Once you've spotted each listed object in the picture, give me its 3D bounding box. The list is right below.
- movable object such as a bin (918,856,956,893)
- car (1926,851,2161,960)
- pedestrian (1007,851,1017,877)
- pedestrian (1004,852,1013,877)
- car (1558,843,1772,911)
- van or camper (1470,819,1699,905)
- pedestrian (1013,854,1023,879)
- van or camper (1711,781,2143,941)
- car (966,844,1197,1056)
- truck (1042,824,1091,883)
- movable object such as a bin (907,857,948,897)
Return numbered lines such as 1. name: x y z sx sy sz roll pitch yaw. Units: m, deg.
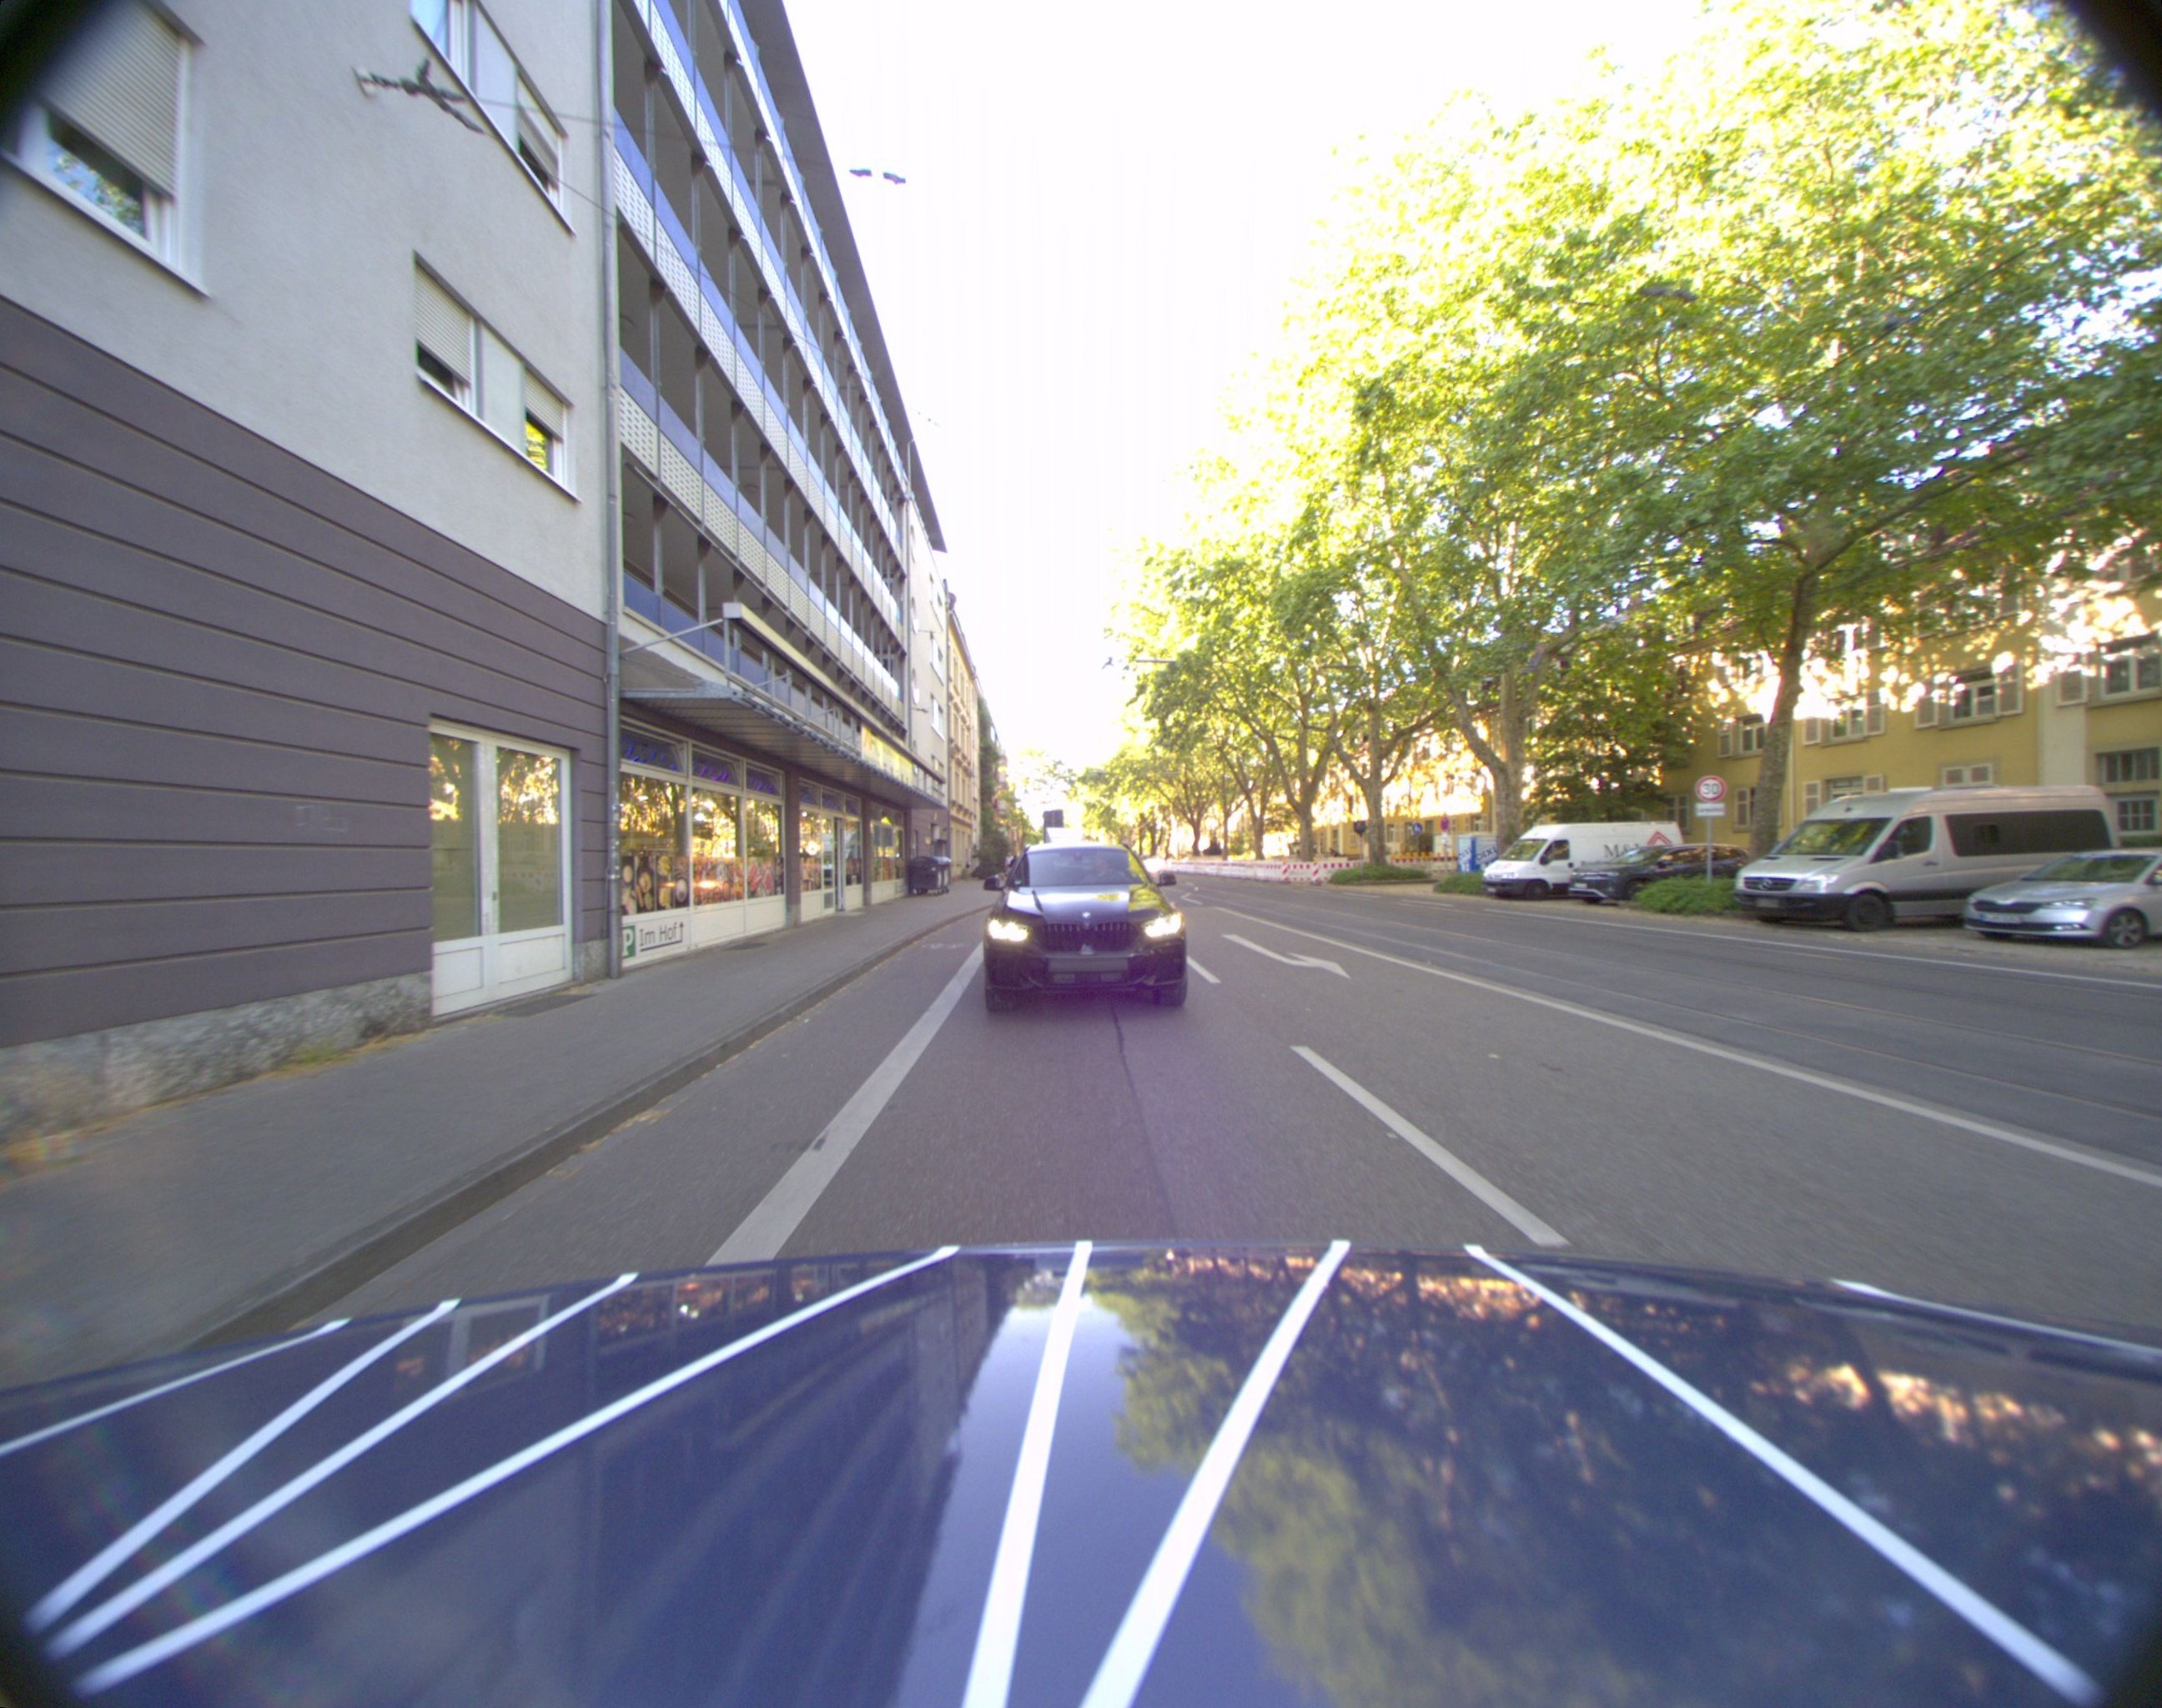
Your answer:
1. movable object such as a bin: -5.579 0.778 29.512 1.203 1.402 1.372 -1 0 0
2. car: 16.250 0.734 11.832 4.276 1.438 1.693 -2 1 0
3. pedestrian: -4.342 0.618 47.707 0.541 1.662 0.630 -1 1 0
4. pedestrian: -4.732 0.686 49.496 0.541 1.662 0.513 -1 1 0
5. car: 15.829 0.599 20.744 4.540 1.624 1.693 -2 1 0
6. van or camper: 15.675 0.223 23.882 5.763 2.371 2.155 -2 1 -1
7. pedestrian: -3.772 0.733 45.295 0.541 1.437 0.630 -1 1 0
8. van or camper: 15.907 0.105 14.548 5.932 2.633 2.155 -2 1 -1
9. car: 0.023 0.800 8.871 1.930 1.742 4.682 -2 1 0
10. truck: -0.906 -0.088 43.443 2.344 3.096 5.209 -2 1 -5
11. movable object such as a bin: -5.533 0.808 27.514 1.203 1.402 1.372 -1 0 0
